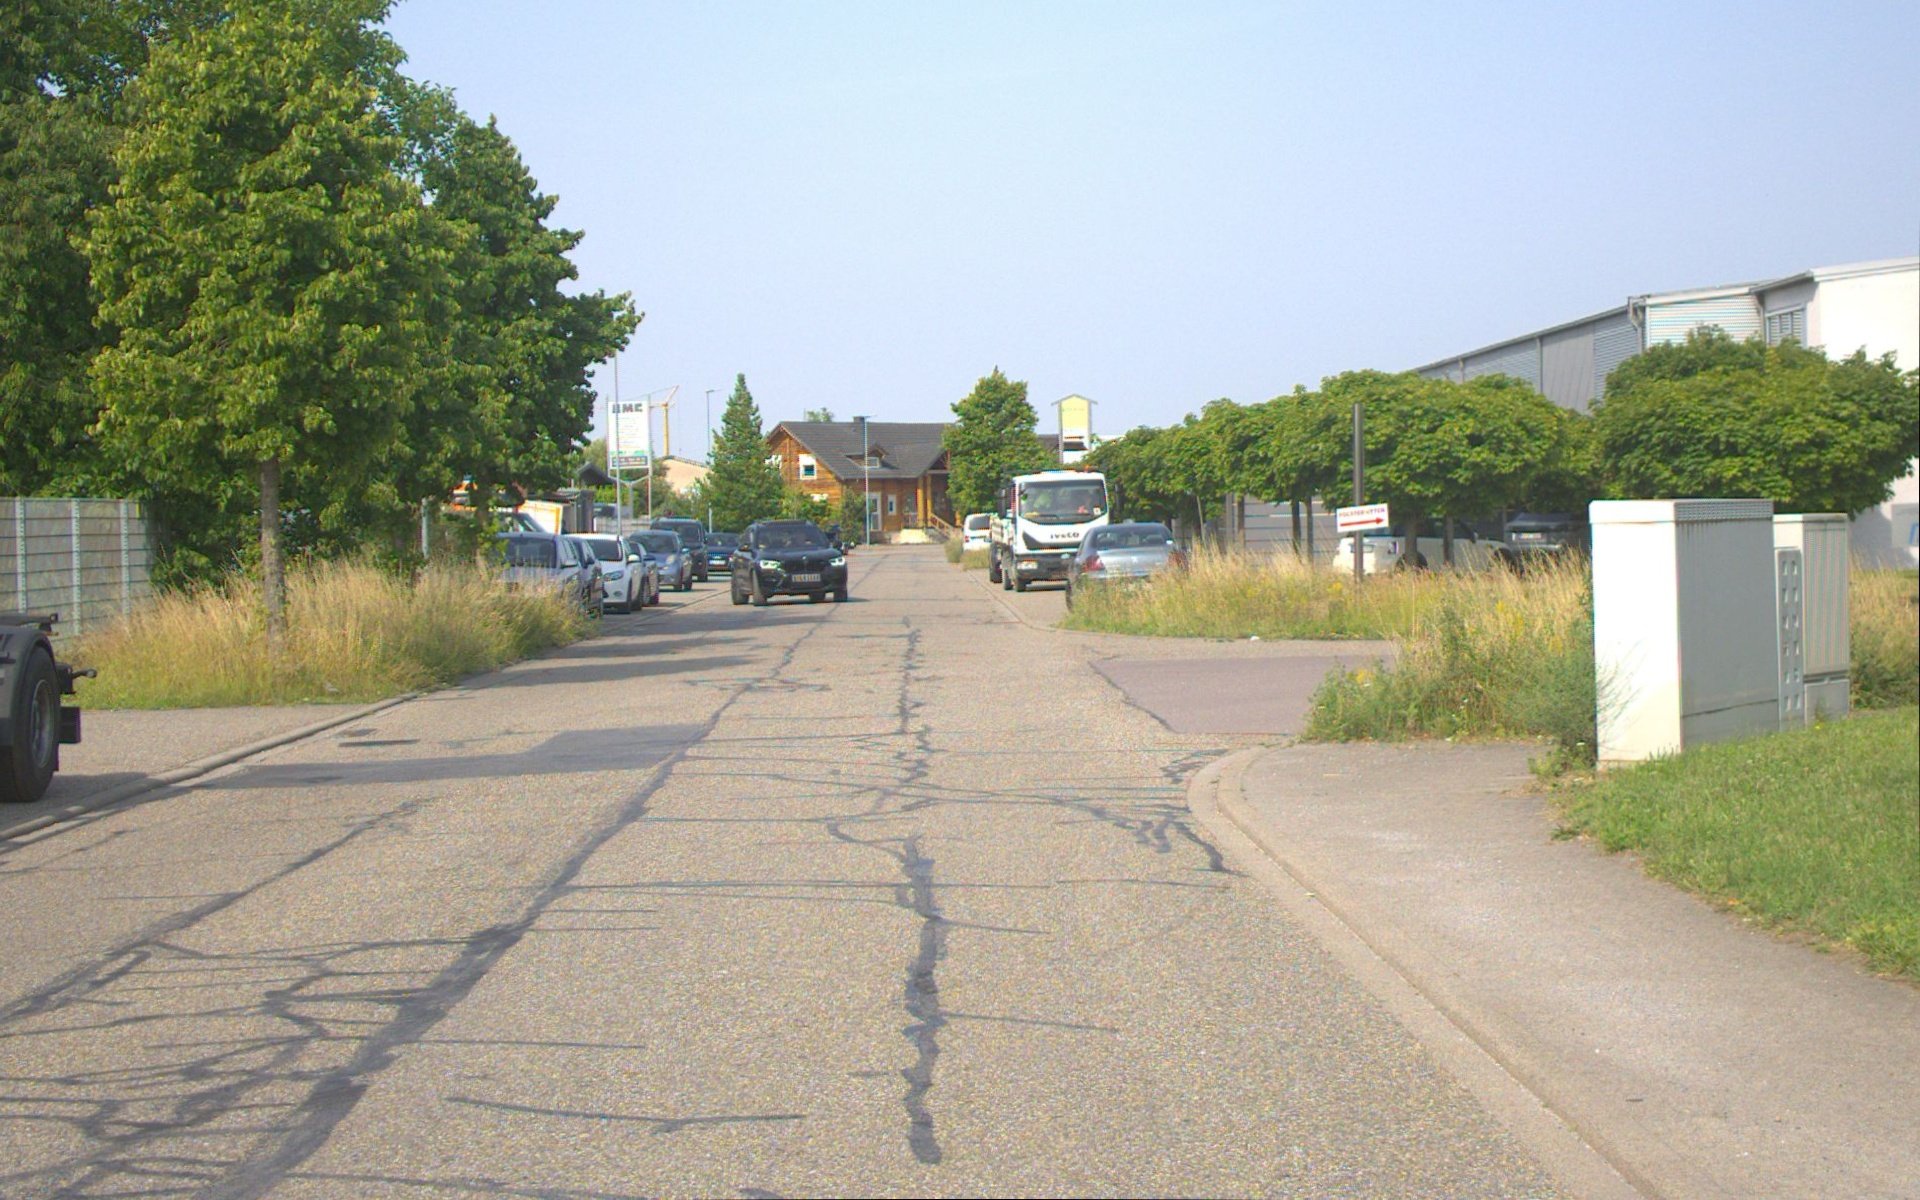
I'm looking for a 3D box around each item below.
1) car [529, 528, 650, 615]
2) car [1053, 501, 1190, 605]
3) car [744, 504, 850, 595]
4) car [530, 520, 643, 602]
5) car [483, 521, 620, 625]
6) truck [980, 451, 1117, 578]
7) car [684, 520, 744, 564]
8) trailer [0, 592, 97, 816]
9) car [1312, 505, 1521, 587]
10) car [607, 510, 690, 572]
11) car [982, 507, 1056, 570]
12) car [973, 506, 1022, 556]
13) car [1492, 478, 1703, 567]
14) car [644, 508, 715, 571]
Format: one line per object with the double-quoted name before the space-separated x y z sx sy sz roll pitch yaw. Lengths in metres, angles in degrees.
"car" -6.304 -0.514 58.824 1.578 1.438 3.963 0 1 1
"car" 2.484 -0.753 53.746 1.794 1.512 4.424 -2 1 -1
"car" -3.266 -1.045 69.436 1.856 1.709 4.227 -3 1 0
"car" -6.948 -0.747 64.280 1.683 1.464 4.254 0 1 -1
"car" -6.395 -0.452 54.118 1.566 1.533 3.688 -2 1 2
"truck" 1.931 -1.903 77.383 2.359 2.672 6.512 -2 1 -4
"car" -8.077 -1.914 113.050 1.800 1.382 3.638 1 1 -1
"trailer" -6.489 0.635 16.347 2.582 1.180 9.364 0 1 -1
"car" 8.303 -0.987 62.437 3.687 1.375 1.687 -3 2 -40
"car" -7.800 -1.487 86.355 1.633 1.512 3.605 0 1 2
"car" 1.521 -1.612 89.683 1.794 1.555 4.000 -2 1 0
"car" 1.511 -2.806 139.681 1.837 1.917 3.756 -2 1 0
"car" 12.240 -1.491 65.835 4.522 1.583 1.686 -3 2 -45
"car" -8.110 -1.771 99.770 1.800 1.768 4.203 1 1 -1
